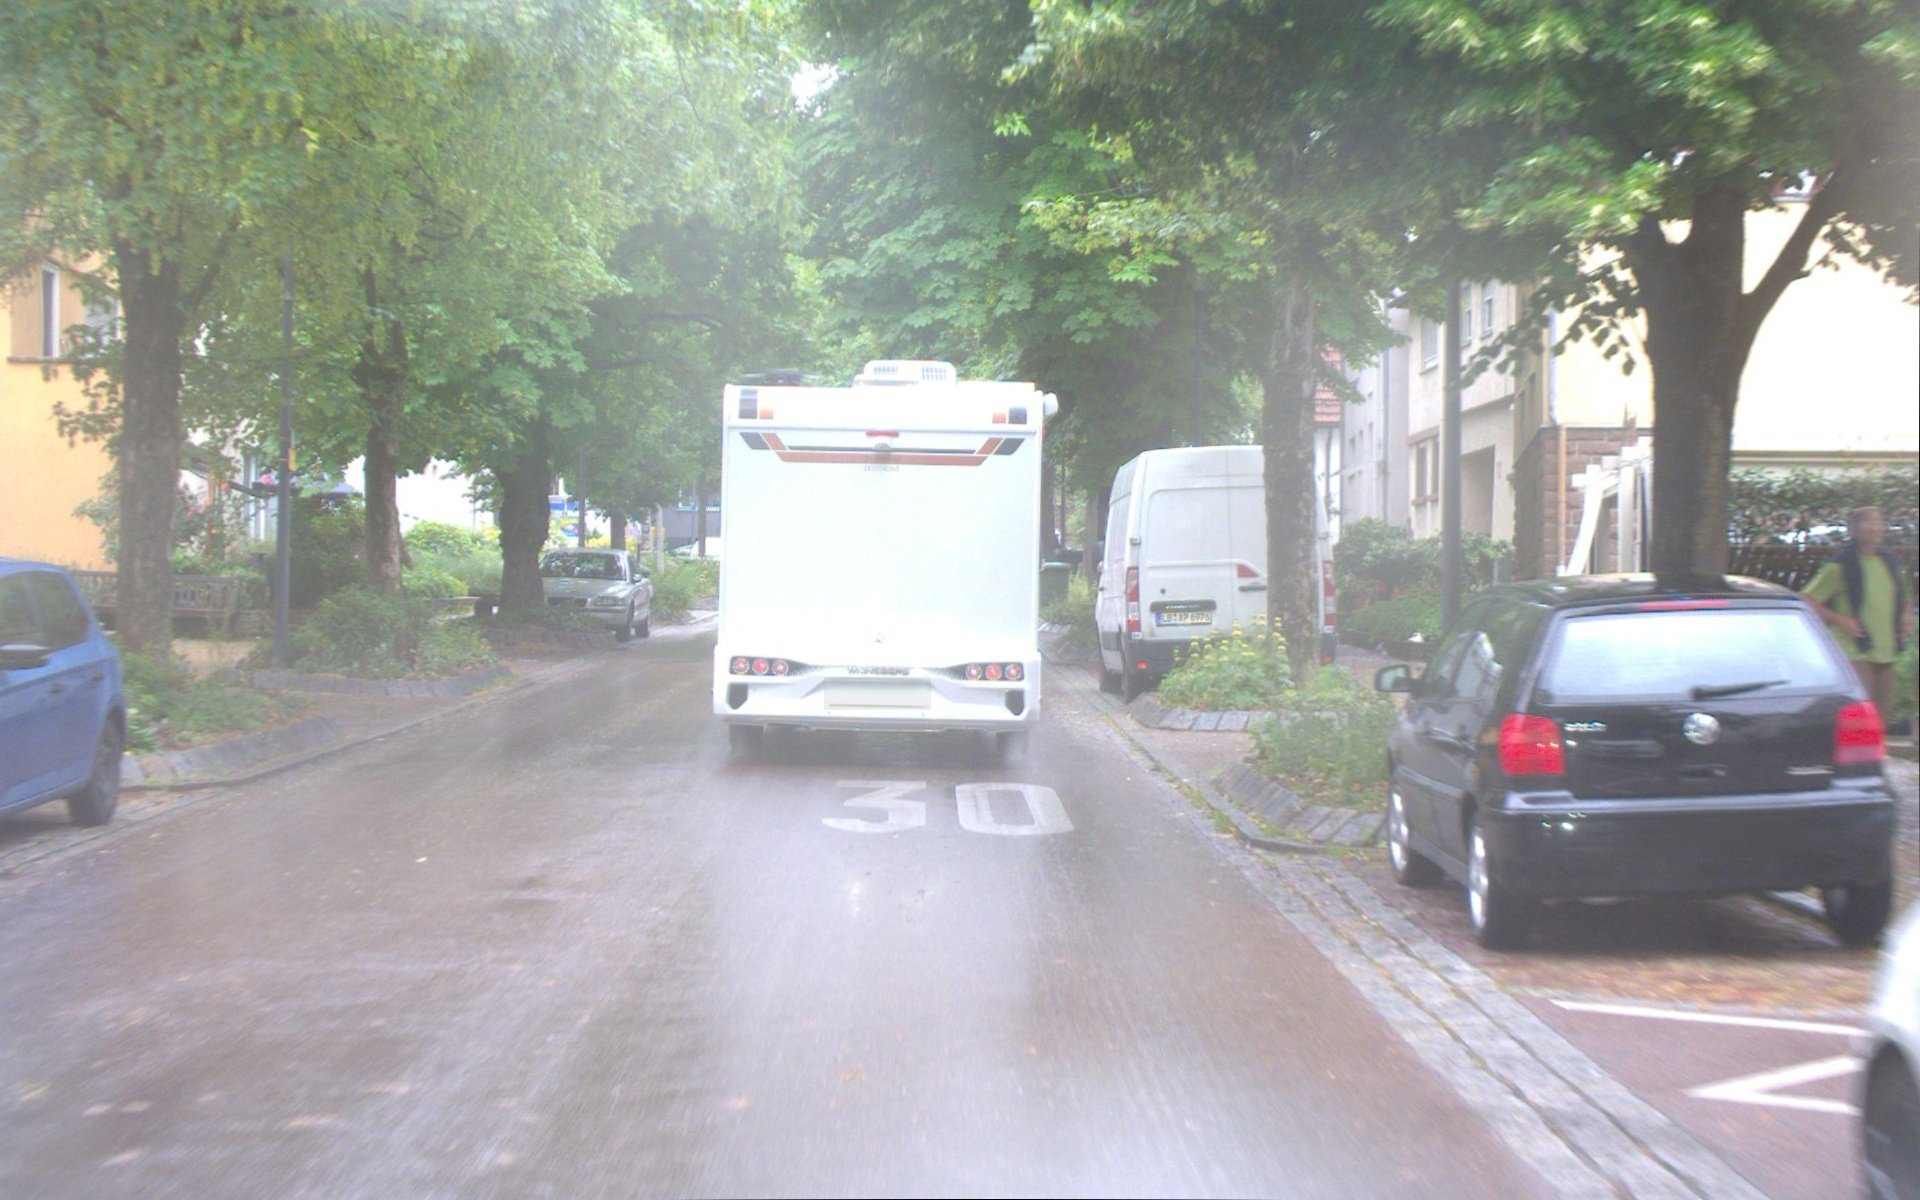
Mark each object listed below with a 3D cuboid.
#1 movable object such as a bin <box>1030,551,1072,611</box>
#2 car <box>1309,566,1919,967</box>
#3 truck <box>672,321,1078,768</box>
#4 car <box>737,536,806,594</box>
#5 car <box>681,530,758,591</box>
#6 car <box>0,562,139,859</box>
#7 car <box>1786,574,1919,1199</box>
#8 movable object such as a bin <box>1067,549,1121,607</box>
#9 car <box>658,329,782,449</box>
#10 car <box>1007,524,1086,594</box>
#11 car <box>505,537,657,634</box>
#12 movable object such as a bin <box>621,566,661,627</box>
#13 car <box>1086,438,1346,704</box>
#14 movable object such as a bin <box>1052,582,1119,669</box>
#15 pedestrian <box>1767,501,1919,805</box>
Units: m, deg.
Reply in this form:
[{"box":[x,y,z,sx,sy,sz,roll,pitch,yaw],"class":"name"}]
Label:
[{"box":[1.631,-0.344,61.773,0.688,1.079,0.541,1,1,-4],"class":"movable object such as a bin"},{"box":[2.599,0.590,14.458,1.808,1.406,3.784,1,1,-1],"class":"car"},{"box":[-0.594,-0.414,26.373,2.694,2.975,6.237,1,1,0],"class":"truck"},{"box":[-5.496,-1.050,100.750,1.771,1.548,4.000,3,1,-1],"class":"car"},{"box":[-6.430,-1.073,92.166,1.647,1.528,3.865,2,1,1],"class":"car"},{"box":[-5.409,0.508,17.000,1.749,1.391,3.796,1,1,0],"class":"car"},{"box":[2.529,0.672,4.952,1.680,1.395,3.795,0,1,-1],"class":"car"},{"box":[3.055,-0.496,78.284,1.225,1.311,1.134,0,1,2],"class":"movable object such as a bin"},{"box":[-4.433,-3.892,63.986,1.993,2.007,4.000,1,1,0],"class":"car"},{"box":[2.290,-1.119,91.913,1.914,1.786,4.489,1,1,-1],"class":"car"},{"box":[-5.896,-0.253,53.970,1.772,1.384,4.545,2,1,1],"class":"car"},{"box":[-5.708,-0.063,61.518,0.595,1.059,0.545,3,1,3],"class":"movable object such as a bin"},{"box":[2.498,-0.309,34.885,2.141,2.451,5.435,1,1,0],"class":"car"},{"box":[1.580,0.318,43.392,0.797,1.071,0.879,1,1,-1],"class":"movable object such as a bin"},{"box":[5.132,0.298,19.839,0.766,1.725,0.492,0,1,-12],"class":"pedestrian"}]
